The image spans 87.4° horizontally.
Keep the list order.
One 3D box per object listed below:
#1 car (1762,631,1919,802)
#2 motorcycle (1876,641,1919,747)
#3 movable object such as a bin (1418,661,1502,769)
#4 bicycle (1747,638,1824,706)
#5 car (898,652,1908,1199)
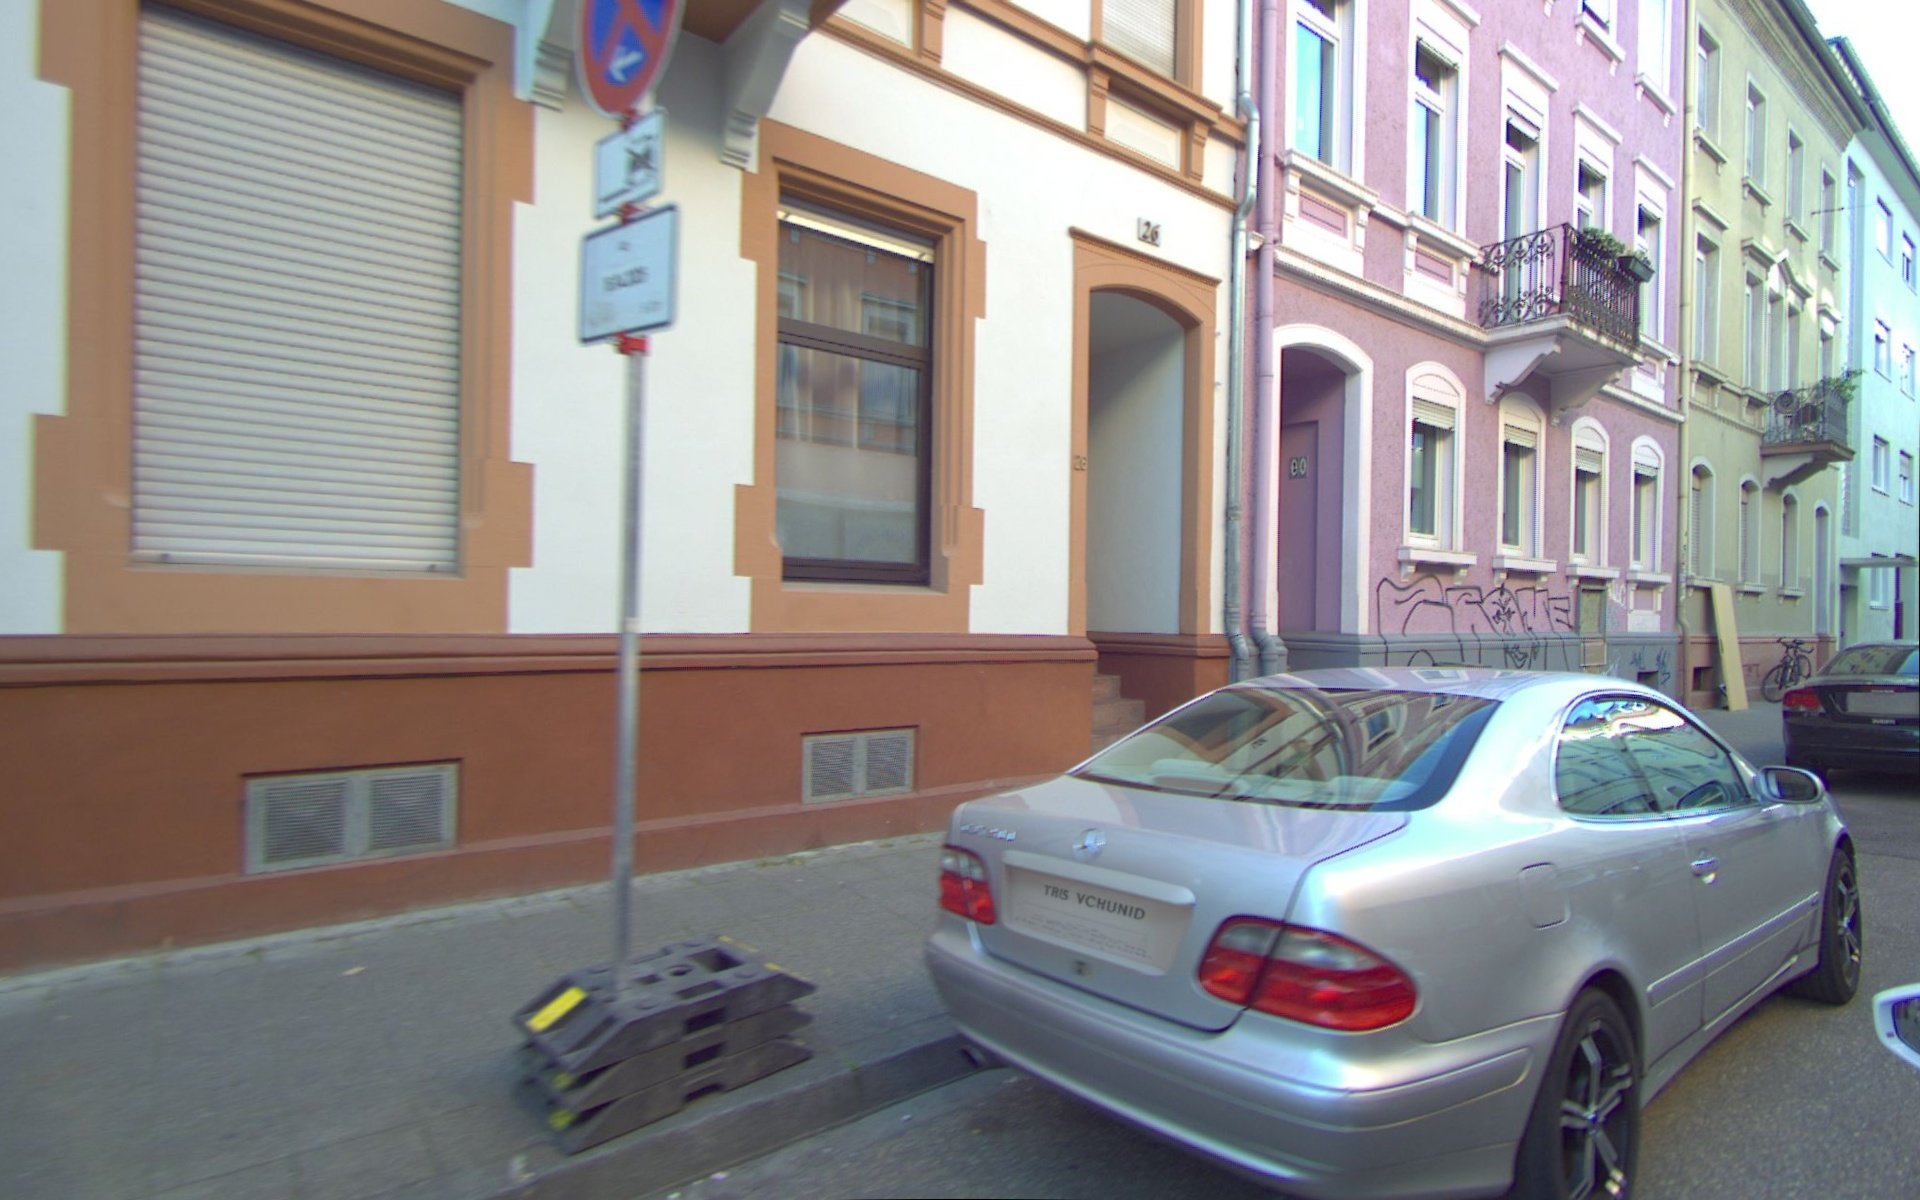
[{"bbox_3d":[9.822,1.040,10.080,4.314,1.401,1.699,0,-2,-36],"label":"car"},{"bbox_3d":[13.271,1.199,12.893,2.118,1.377,0.538,-3,-3,35],"label":"motorcycle"},{"bbox_3d":[4.785,1.084,9.619,0.483,0.957,0.539,2,0,-37],"label":"movable object such as a bin"},{"bbox_3d":[14.521,1.235,17.652,2.060,1.103,0.588,2,0,-38],"label":"bicycle"},{"bbox_3d":[2.064,0.917,3.877,4.466,1.401,1.697,2,-3,-39],"label":"car"}]
